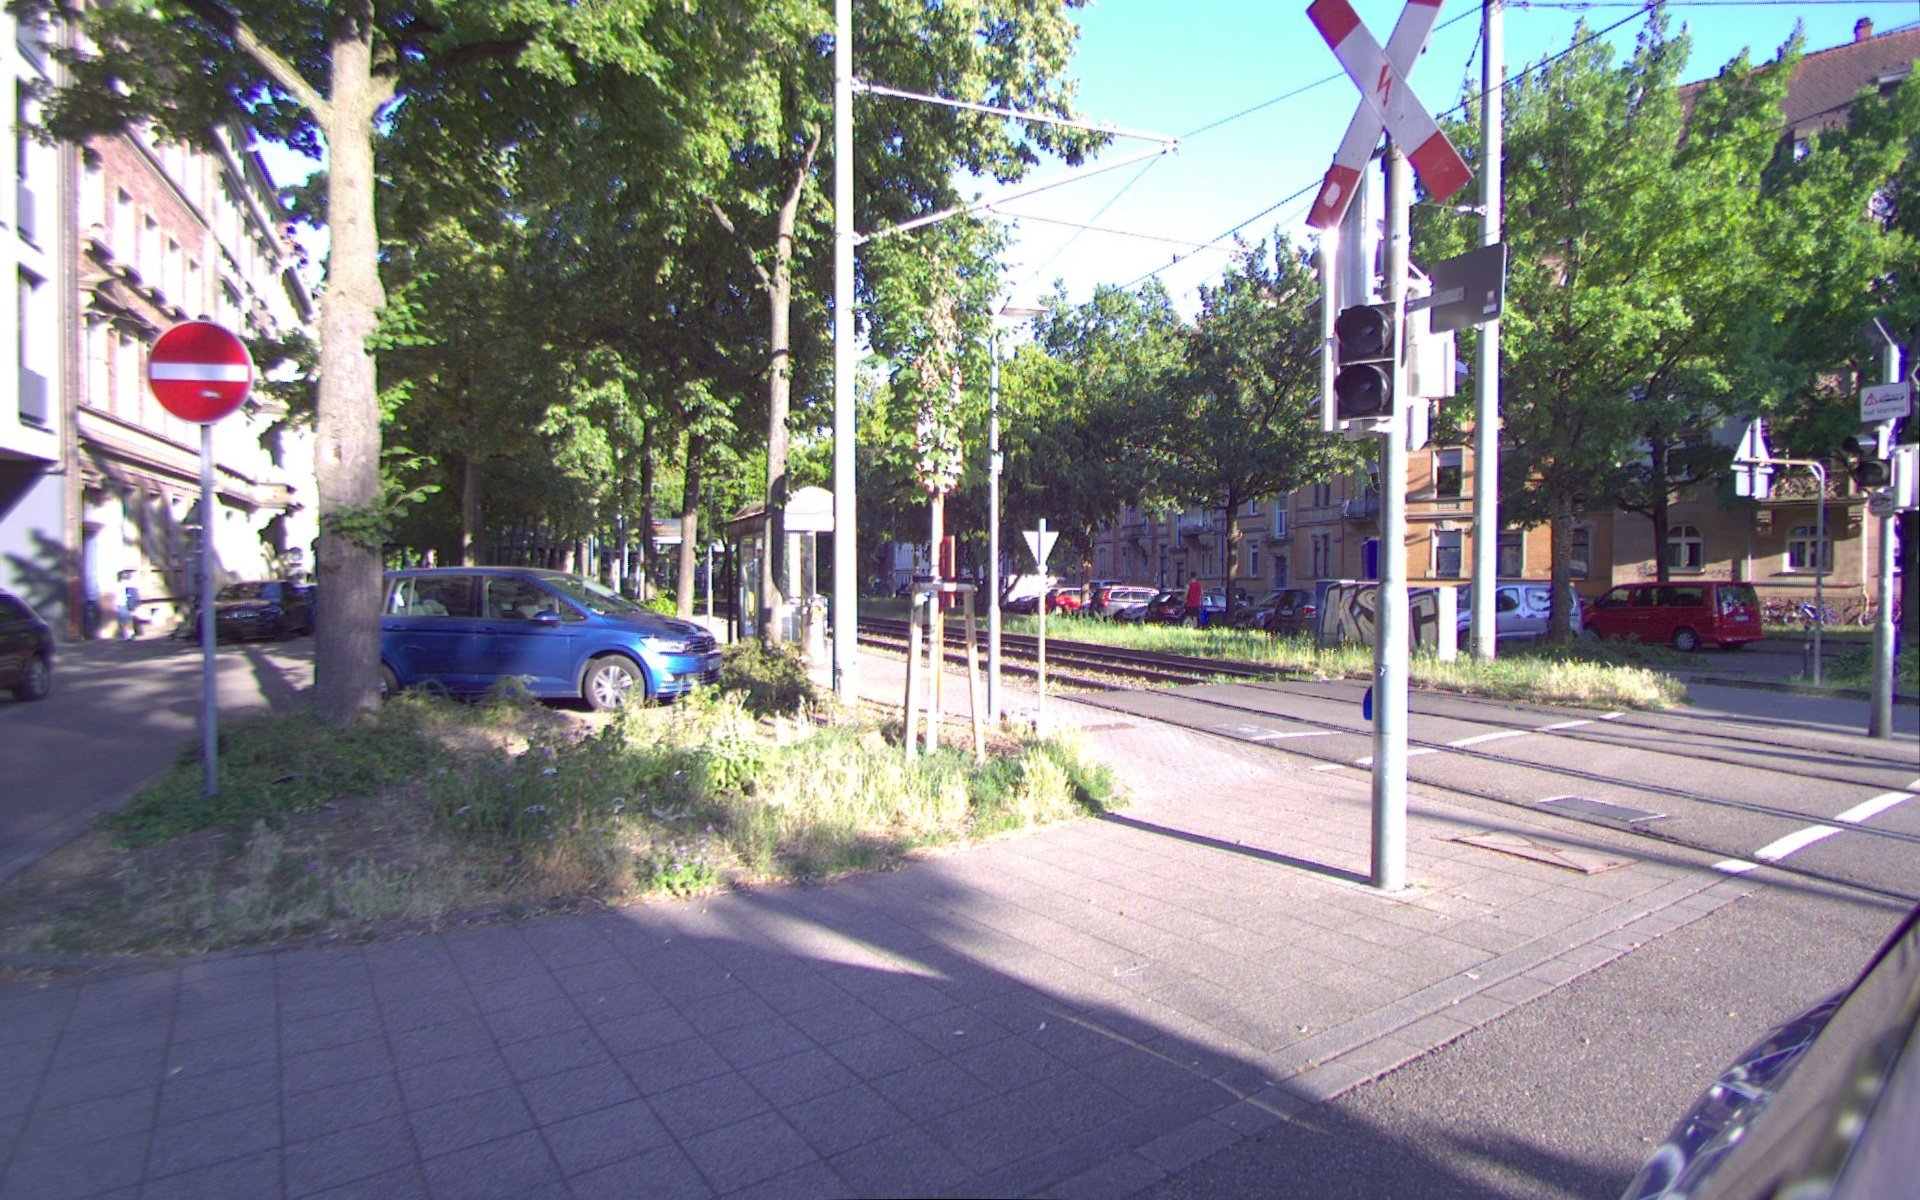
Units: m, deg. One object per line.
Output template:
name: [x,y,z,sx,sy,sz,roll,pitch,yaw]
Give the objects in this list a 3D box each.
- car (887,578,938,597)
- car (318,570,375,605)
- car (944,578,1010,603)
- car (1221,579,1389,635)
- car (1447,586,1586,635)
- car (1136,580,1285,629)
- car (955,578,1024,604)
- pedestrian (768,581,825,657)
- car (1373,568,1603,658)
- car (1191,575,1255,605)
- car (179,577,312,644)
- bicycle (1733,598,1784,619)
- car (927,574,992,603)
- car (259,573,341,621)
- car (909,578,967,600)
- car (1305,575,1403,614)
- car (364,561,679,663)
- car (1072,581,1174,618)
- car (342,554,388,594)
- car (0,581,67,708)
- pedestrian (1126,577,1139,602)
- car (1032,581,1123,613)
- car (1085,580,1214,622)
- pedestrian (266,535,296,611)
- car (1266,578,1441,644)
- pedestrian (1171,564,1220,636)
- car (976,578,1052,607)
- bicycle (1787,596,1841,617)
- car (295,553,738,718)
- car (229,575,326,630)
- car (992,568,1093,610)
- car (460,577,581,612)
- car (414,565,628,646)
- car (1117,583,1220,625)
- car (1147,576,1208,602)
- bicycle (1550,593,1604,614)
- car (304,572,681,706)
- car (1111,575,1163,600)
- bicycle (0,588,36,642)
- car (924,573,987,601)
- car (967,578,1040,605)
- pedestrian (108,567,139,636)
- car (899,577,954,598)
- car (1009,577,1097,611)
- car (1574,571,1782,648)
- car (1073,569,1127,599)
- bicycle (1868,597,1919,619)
car: [-3.937,-1.030,84.180,3.916,1.507,1.688,1,1,-15]
car: [-29.446,-0.646,48.685,1.959,1.587,4.620,1,1,-26]
car: [1.063,-0.598,64.626,3.916,1.507,1.688,1,1,-15]
car: [10.481,0.184,30.843,4.458,1.591,1.954,0,2,-13]
car: [18.911,0.305,34.629,1.745,1.451,4.279,-2,2,-13]
car: [8.729,0.124,35.437,4.617,1.591,2.005,0,2,-13]
car: [1.802,-0.532,61.942,3.916,1.507,1.688,1,1,-15]
pedestrian: [-2.873,0.317,17.769,0.807,1.288,0.878,0,1,-23]
car: [12.139,0.262,23.366,4.458,1.938,1.954,0,2,-13]
car: [13.884,-0.562,53.608,1.654,1.493,3.717,-2,2,-14]
car: [-18.597,0.215,26.580,1.958,1.587,4.602,1,1,-24]
bicycle: [30.155,0.301,38.238,1.503,0.741,0.363,1,1,40]
car: [-0.030,-0.748,66.615,3.916,1.855,1.688,1,1,-15]
car: [-23.172,-0.140,35.663,1.959,1.587,4.249,1,1,-27]
car: [-1.641,-0.823,74.354,3.916,1.507,1.688,1,1,-15]
car: [16.716,-0.277,43.174,1.745,1.493,4.279,-2,2,-13]
car: [-7.204,0.162,16.884,4.474,1.505,1.926,1,1,7]
car: [6.927,-0.030,43.085,3.916,1.479,1.688,1,1,-15]
car: [-34.572,-1.526,58.918,1.959,2.200,4.620,1,1,-26]
car: [-12.132,0.584,11.438,1.706,1.508,4.173,-3,2,-22]
pedestrian: [12.315,-0.745,72.203,0.661,1.739,0.724,-2,1,-14]
car: [5.555,-0.133,47.959,3.916,1.441,1.688,1,1,-15]
car: [7.550,0.008,40.539,4.617,1.591,2.005,0,2,-13]
pedestrian: [-26.911,-1.071,40.115,0.902,2.984,0.701,0,1,-27]
car: [11.006,0.255,28.355,4.356,1.712,1.955,0,2,-20]
pedestrian: [6.579,-0.014,28.283,0.886,1.942,1.152,0,1,-15]
car: [3.025,-0.446,56.966,3.916,1.573,1.688,1,1,-15]
bicycle: [31.625,0.248,37.490,1.503,0.741,0.363,1,1,40]
car: [-4.932,0.370,11.602,4.340,1.708,1.740,-1,1,4]
car: [-21.019,0.027,31.336,1.959,1.587,4.249,1,1,-27]
car: [4.269,-0.588,52.750,4.758,2.063,2.160,1,1,-15]
car: [-17.824,-0.236,41.136,4.209,1.295,1.806,1,1,7]
car: [-10.403,0.085,24.034,4.489,1.743,1.920,1,1,16]
car: [7.772,0.142,37.838,3.338,1.533,1.722,0,1,-13]
car: [12.555,-0.684,58.701,1.732,1.400,4.299,-2,2,-14]
bicycle: [25.984,0.137,42.608,1.890,0.858,0.518,0,0,40]
car: [-6.439,0.481,14.222,4.474,1.655,1.926,1,1,7]
car: [11.065,-0.811,63.550,1.732,1.456,3.897,-2,2,-15]
bicycle: [-20.968,0.331,21.513,0.670,1.130,2.095,0,1,4]
car: [-0.319,-0.868,68.987,3.916,1.855,1.688,1,1,-15]
car: [2.531,-0.483,59.419,3.916,1.507,1.688,1,1,-15]
pedestrian: [-20.817,0.026,25.194,0.519,1.695,0.427,0,1,-30]
car: [-2.547,-0.948,77.390,3.916,1.507,1.688,1,1,-15]
car: [4.593,-0.302,50.090,3.915,1.600,1.770,1,1,-17]
car: [20.324,0.204,28.950,1.745,1.957,4.783,-2,2,-16]
car: [9.482,-1.124,68.967,1.873,1.906,4.735,-2,2,-15]
bicycle: [33.491,0.288,36.189,1.503,0.741,0.363,1,1,40]
